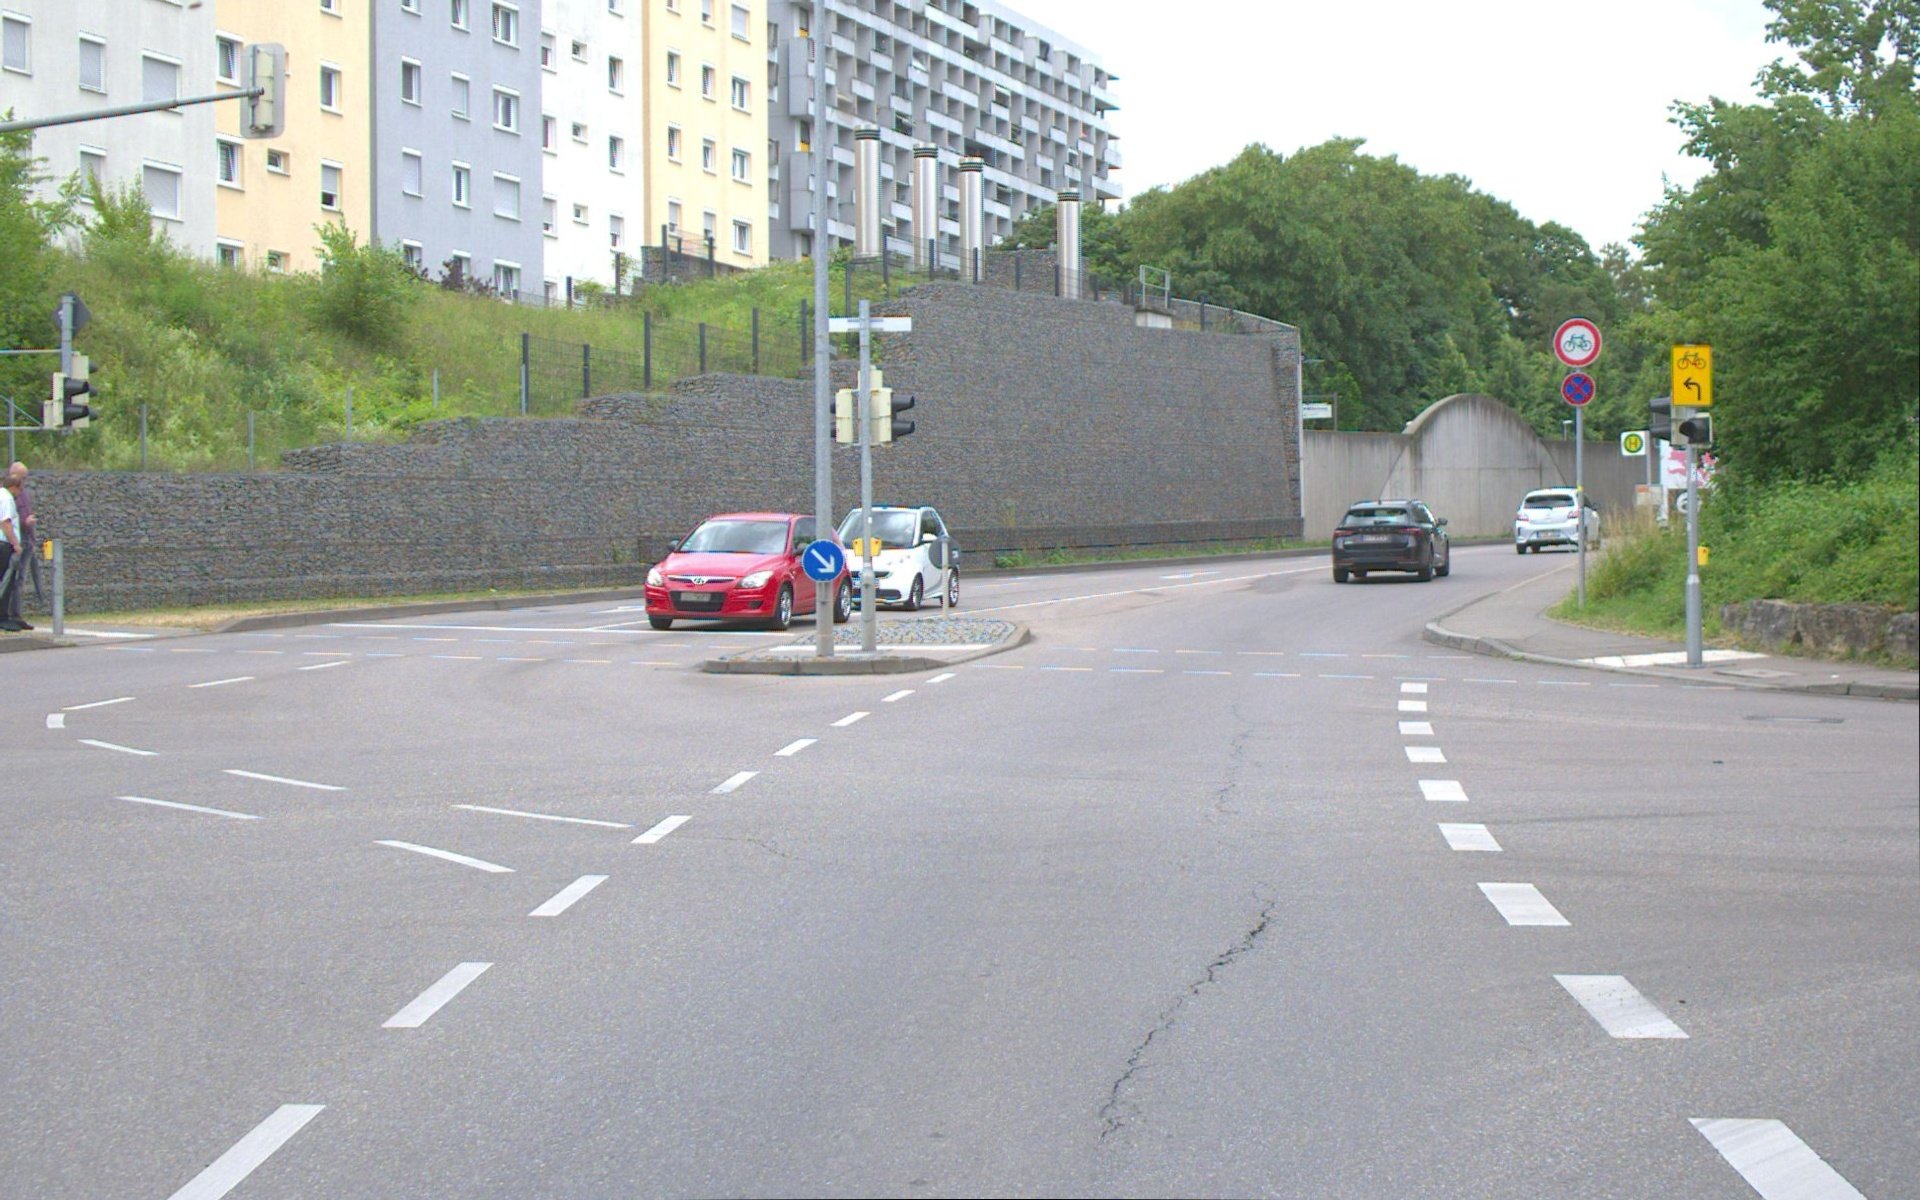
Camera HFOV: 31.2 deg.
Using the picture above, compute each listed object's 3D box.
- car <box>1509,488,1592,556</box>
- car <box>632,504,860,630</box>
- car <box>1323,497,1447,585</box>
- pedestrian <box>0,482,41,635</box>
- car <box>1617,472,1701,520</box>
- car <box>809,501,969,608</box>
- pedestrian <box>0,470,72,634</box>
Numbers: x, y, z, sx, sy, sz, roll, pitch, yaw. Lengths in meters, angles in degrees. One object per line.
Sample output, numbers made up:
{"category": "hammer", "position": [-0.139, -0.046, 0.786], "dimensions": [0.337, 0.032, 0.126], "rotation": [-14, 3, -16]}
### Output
{"category": "car", "position": [13.923, -1.815, 80.915], "dimensions": [1.755, 1.518, 4.034], "rotation": [1, 1, 12]}
{"category": "car", "position": [-2.710, -0.428, 44.480], "dimensions": [1.755, 1.518, 4.090], "rotation": [1, 1, 14]}
{"category": "car", "position": [7.785, -1.065, 62.717], "dimensions": [1.755, 1.518, 4.034], "rotation": [1, 1, 14]}
{"category": "pedestrian", "position": [-10.564, -0.460, 37.952], "dimensions": [0.622, 1.673, 0.665], "rotation": [1, 1, 3]}
{"category": "car", "position": [22.311, -3.319, 109.658], "dimensions": [1.869, 1.485, 4.252], "rotation": [1, 2, 22]}
{"category": "car", "position": [-1.020, -0.666, 50.820], "dimensions": [1.544, 1.518, 2.912], "rotation": [1, 1, 16]}
{"category": "pedestrian", "position": [-10.450, -0.543, 38.686], "dimensions": [0.622, 1.821, 0.665], "rotation": [1, 1, 14]}
